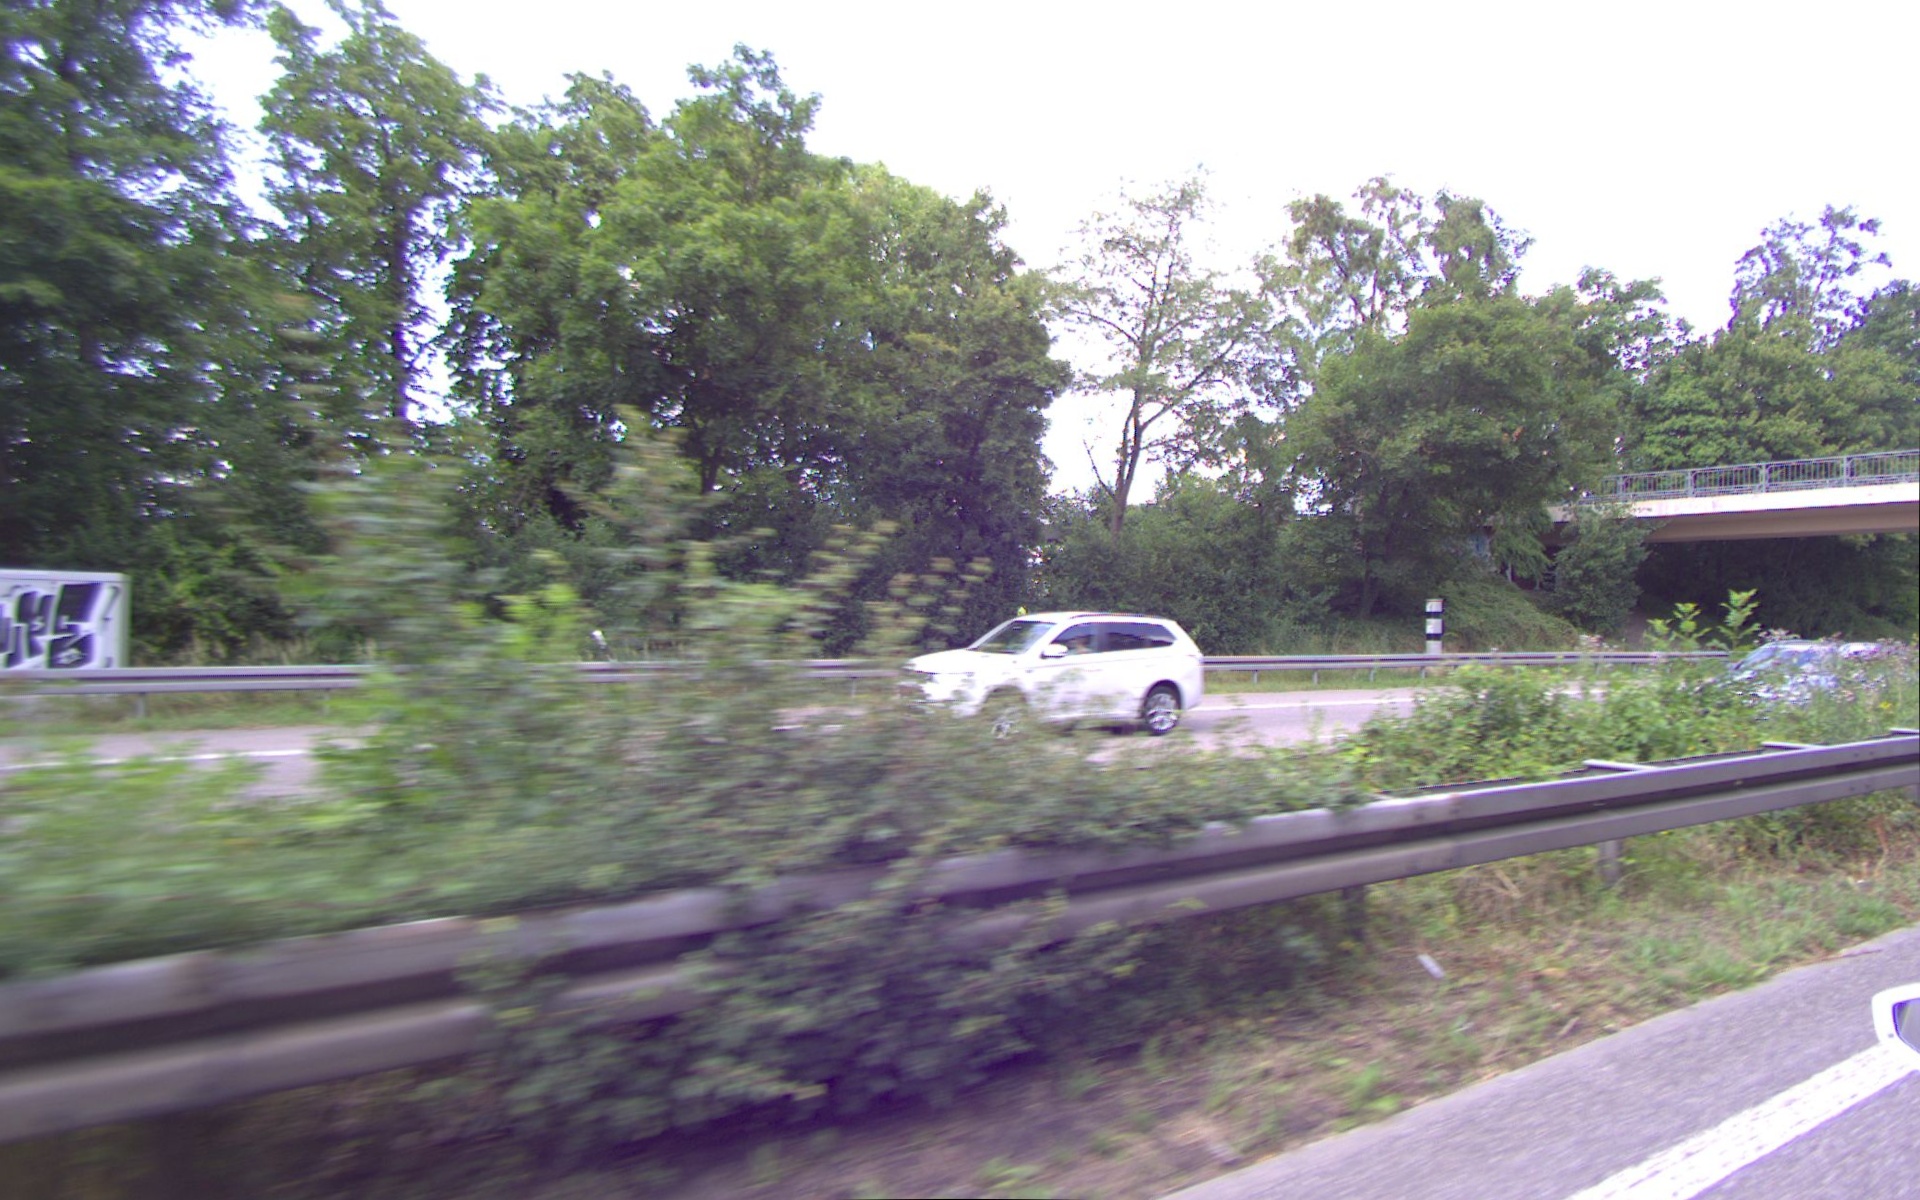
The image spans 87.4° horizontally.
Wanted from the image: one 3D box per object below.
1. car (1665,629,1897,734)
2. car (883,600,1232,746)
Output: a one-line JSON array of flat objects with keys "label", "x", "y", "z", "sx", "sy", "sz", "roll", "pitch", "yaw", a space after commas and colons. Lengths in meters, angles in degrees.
[{"label": "car", "x": 14.250, "y": 1.328, "z": 17.407, "sx": 4.090, "sy": 1.608, "sz": 1.813, "roll": 1, "pitch": -1, "yaw": -30}, {"label": "car", "x": 1.463, "y": 0.941, "z": 14.208, "sx": 4.824, "sy": 1.762, "sz": 1.777, "roll": 1, "pitch": -1, "yaw": -31}]
